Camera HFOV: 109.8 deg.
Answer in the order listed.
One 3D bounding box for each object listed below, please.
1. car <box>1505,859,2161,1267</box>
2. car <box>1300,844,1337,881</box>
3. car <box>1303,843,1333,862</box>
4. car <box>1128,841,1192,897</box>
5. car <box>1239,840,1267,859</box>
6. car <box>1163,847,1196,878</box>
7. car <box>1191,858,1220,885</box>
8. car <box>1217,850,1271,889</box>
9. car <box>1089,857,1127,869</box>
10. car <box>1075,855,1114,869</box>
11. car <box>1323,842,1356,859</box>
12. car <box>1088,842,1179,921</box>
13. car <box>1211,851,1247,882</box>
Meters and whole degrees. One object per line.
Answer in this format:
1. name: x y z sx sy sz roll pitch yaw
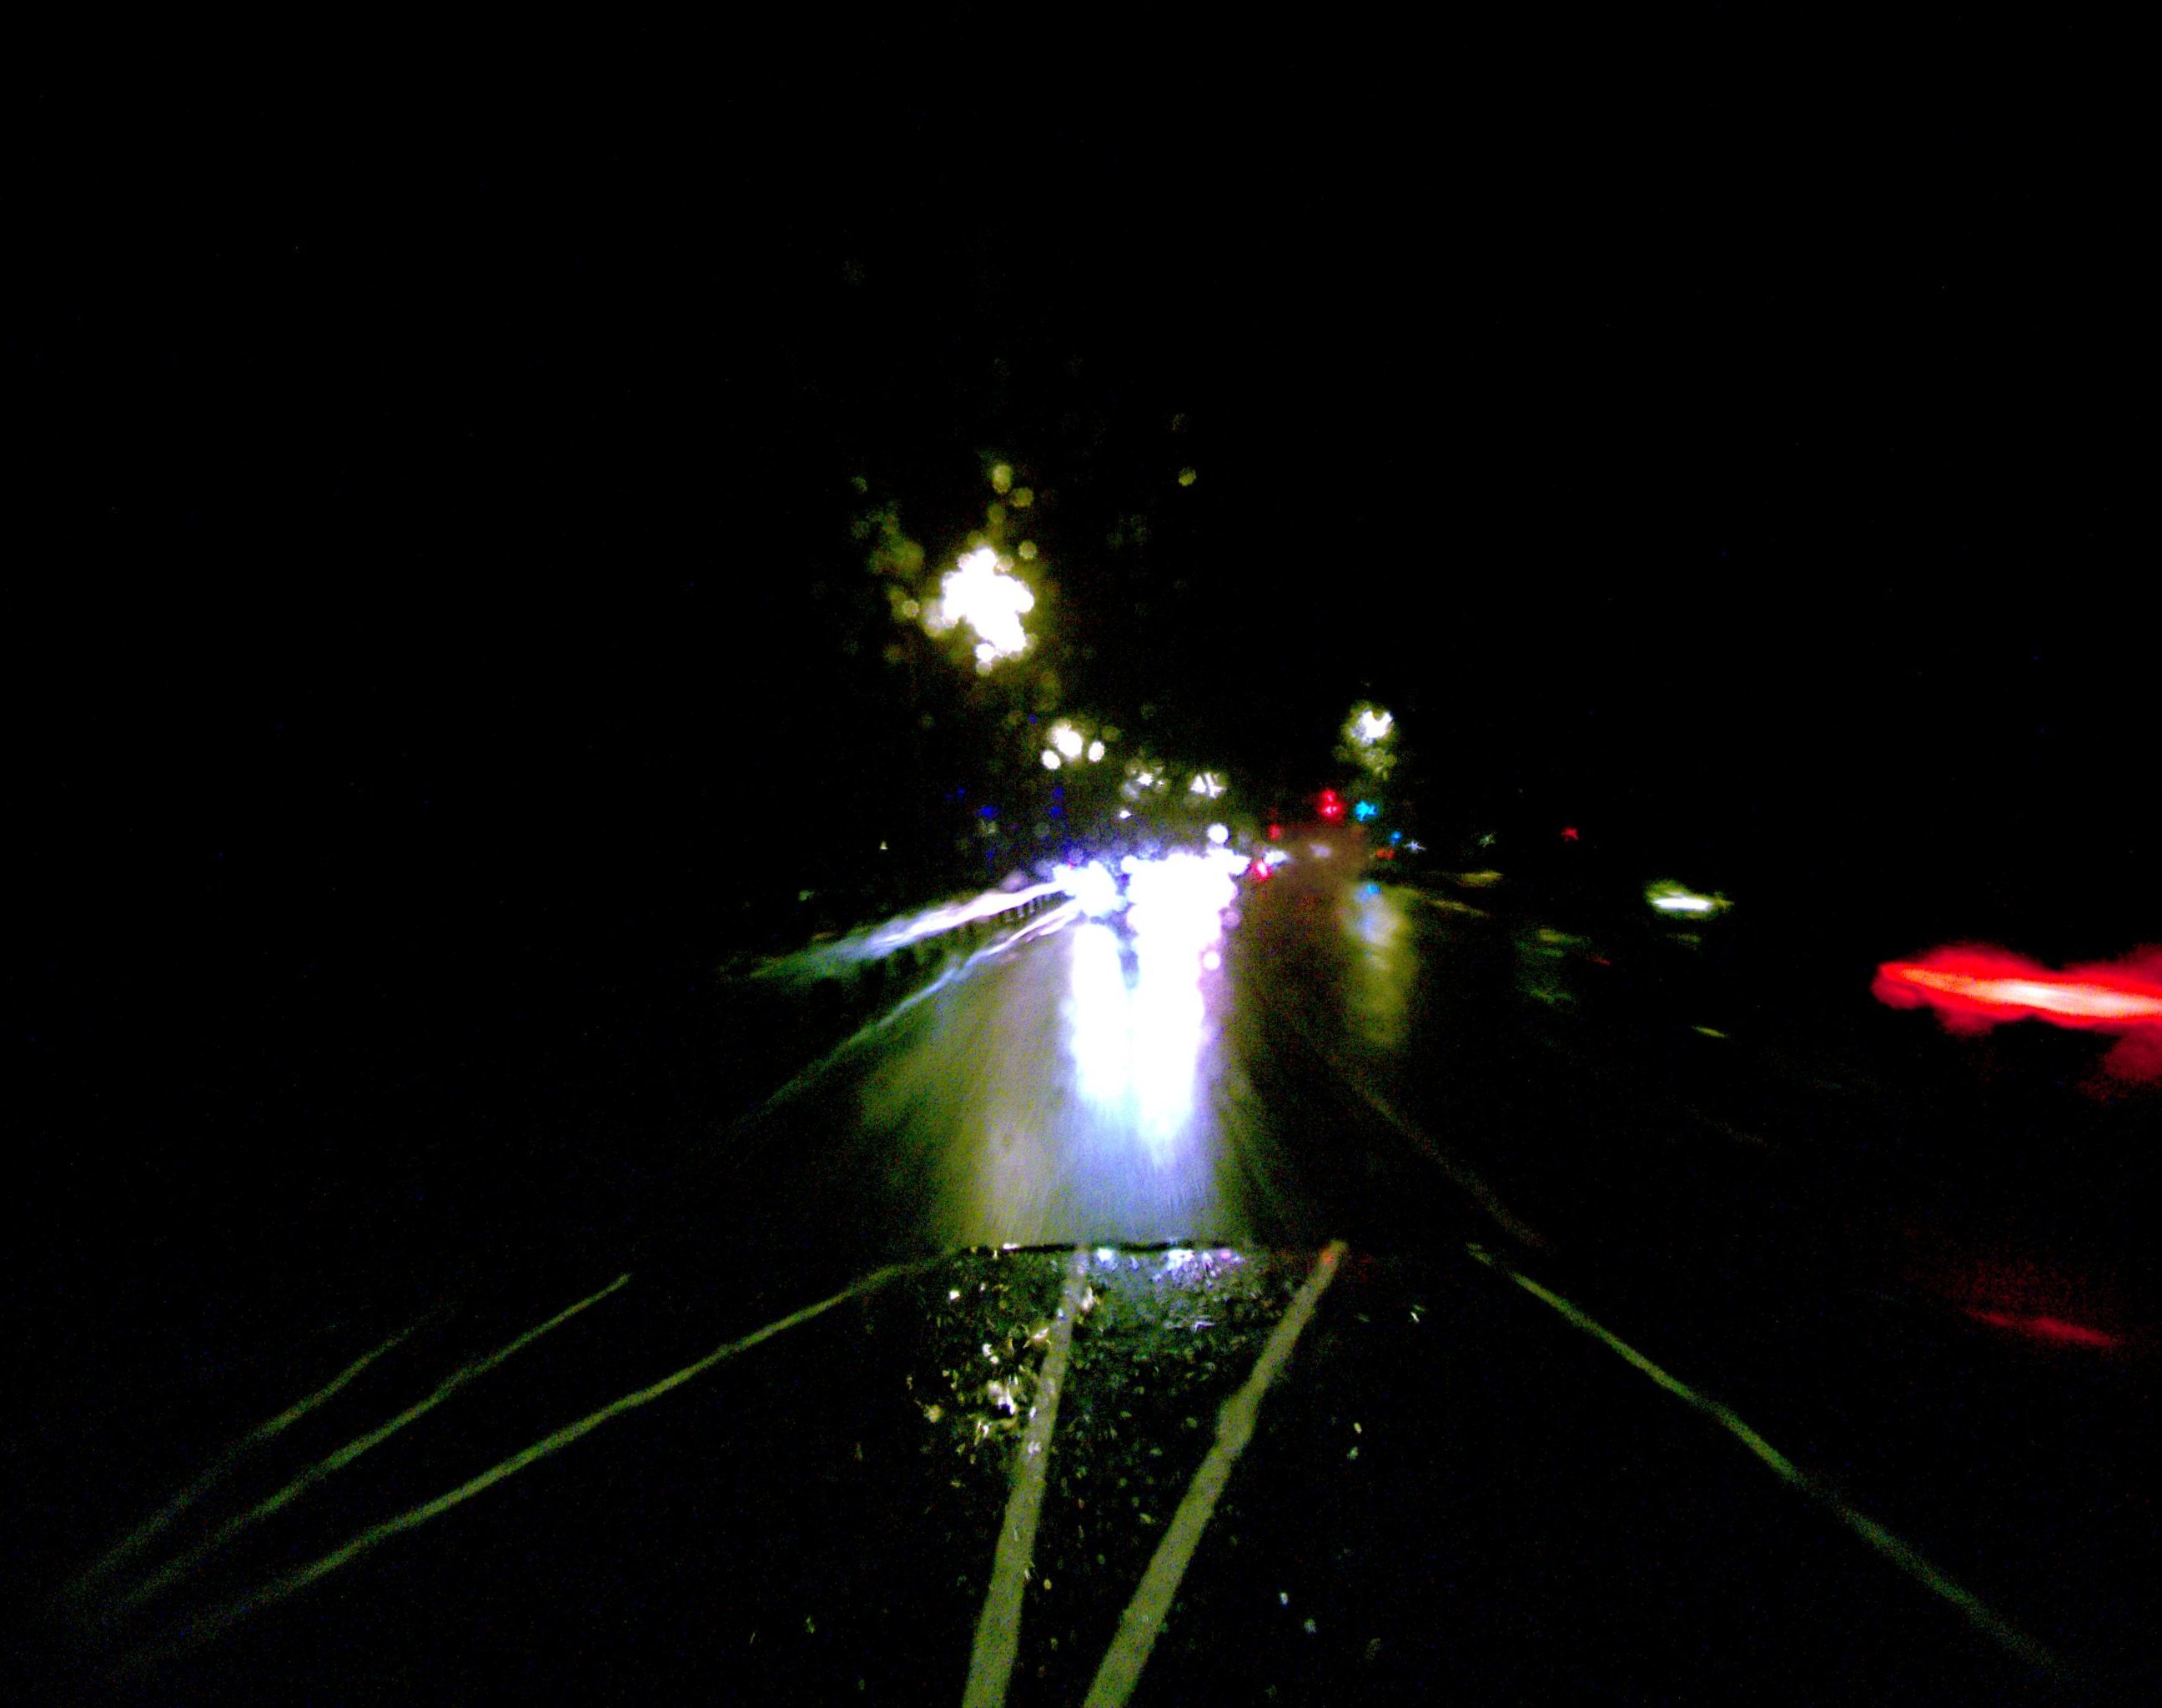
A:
1. car: 4.944 0.831 5.160 1.686 1.383 4.450 -3 1 1
2. car: 10.642 0.385 34.136 1.473 1.575 3.195 -2 -1 16
3. car: 22.996 -0.148 73.622 2.000 1.665 4.625 -2 0 26
4. car: 3.133 0.562 29.474 1.996 2.002 4.004 -1 0 12
5. car: 19.364 -0.470 85.450 1.865 2.001 4.008 -2 -1 32
6. car: 5.283 0.458 40.453 1.521 1.516 3.110 -2 -1 10
7. car: 7.937 1.068 48.328 1.304 1.520 3.050 -7 -2 15
8. car: 6.646 0.594 31.322 1.899 1.431 4.065 -1 0 8
9. car: 3.441 1.165 96.750 4.533 1.400 2.004 -1 1 43
10. car: 1.695 0.993 95.235 4.769 1.630 2.004 -1 1 43
11. car: 21.643 -0.317 63.511 1.767 1.419 4.227 0 1 30
12. car: 1.307 0.644 18.493 1.927 1.704 4.241 0 -1 5
13. car: 12.531 1.040 64.257 1.996 2.002 4.003 -8 2 22
